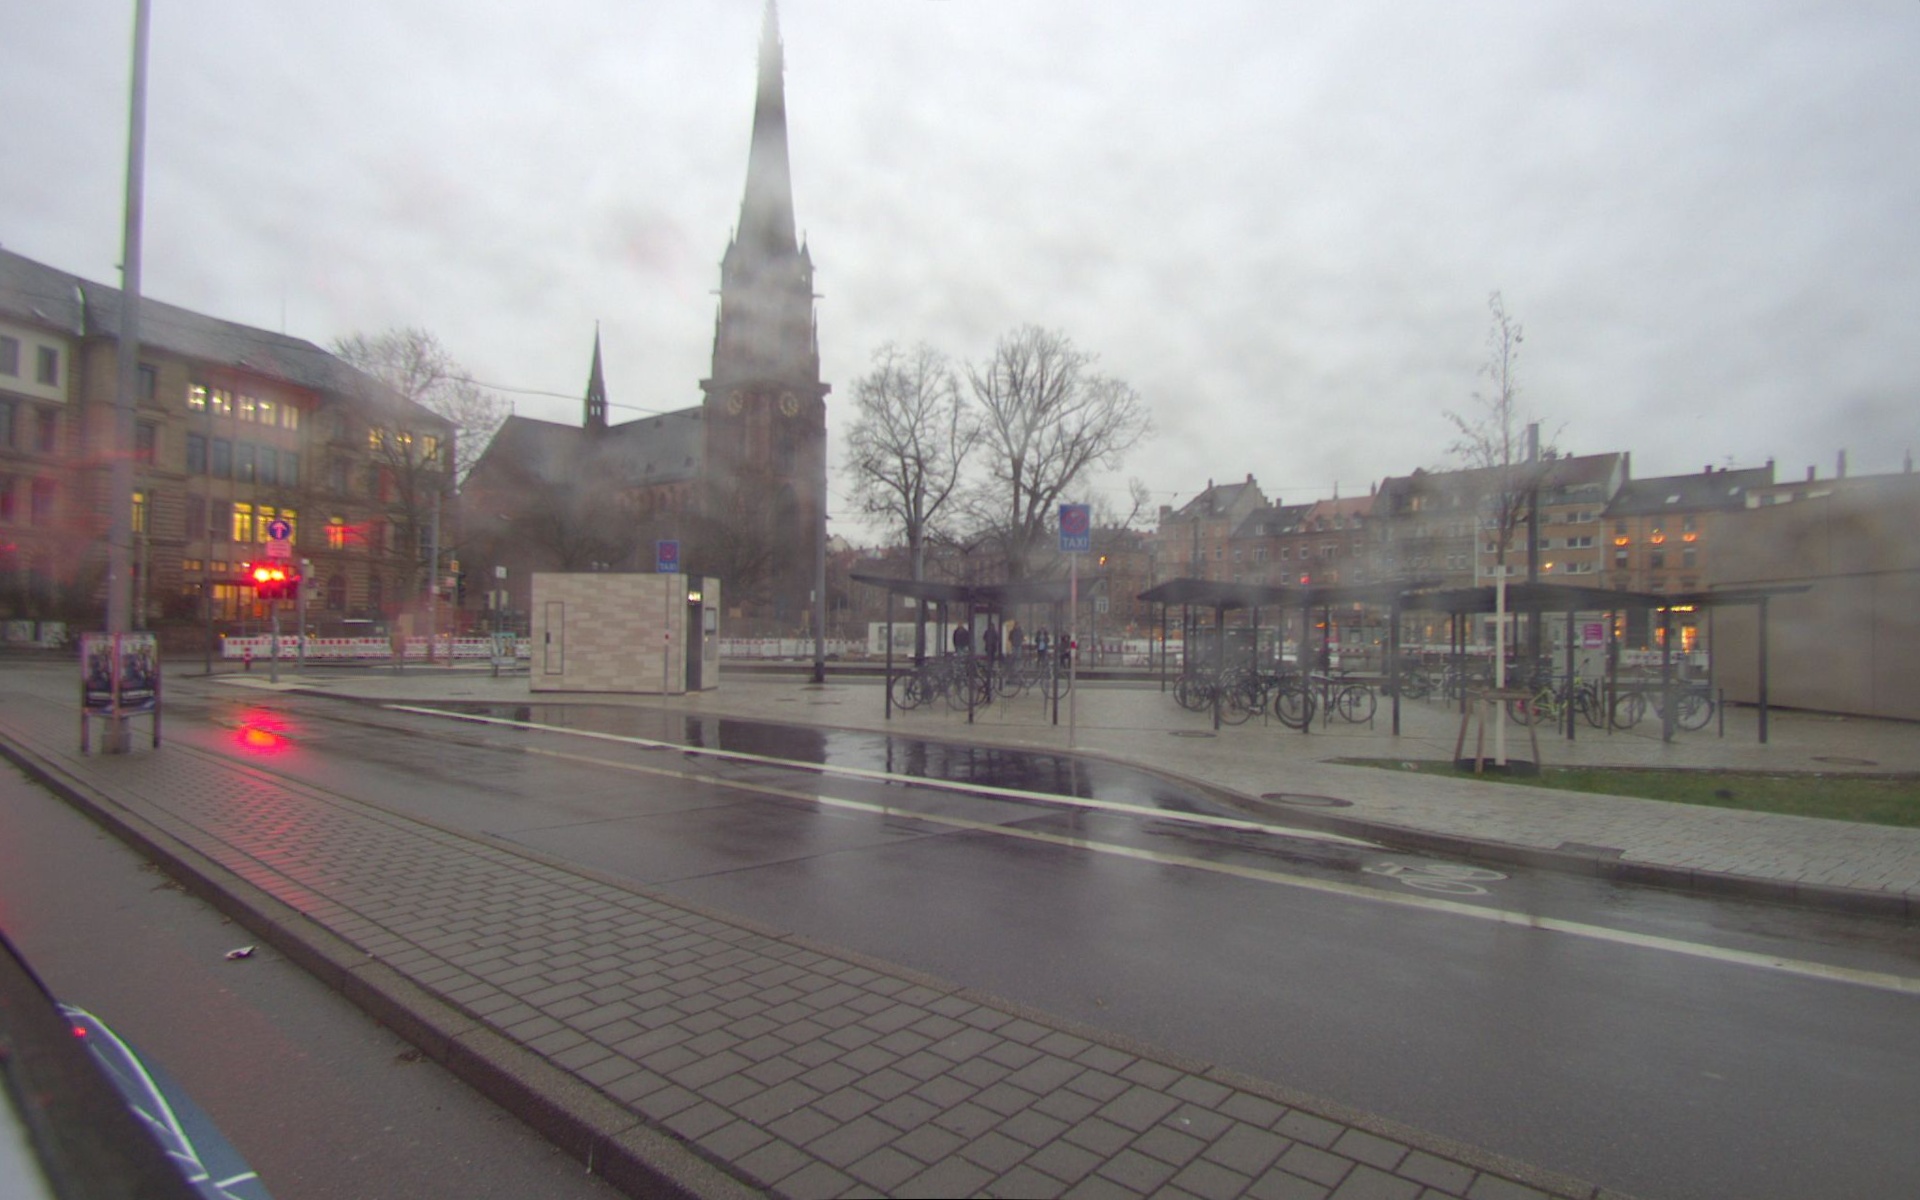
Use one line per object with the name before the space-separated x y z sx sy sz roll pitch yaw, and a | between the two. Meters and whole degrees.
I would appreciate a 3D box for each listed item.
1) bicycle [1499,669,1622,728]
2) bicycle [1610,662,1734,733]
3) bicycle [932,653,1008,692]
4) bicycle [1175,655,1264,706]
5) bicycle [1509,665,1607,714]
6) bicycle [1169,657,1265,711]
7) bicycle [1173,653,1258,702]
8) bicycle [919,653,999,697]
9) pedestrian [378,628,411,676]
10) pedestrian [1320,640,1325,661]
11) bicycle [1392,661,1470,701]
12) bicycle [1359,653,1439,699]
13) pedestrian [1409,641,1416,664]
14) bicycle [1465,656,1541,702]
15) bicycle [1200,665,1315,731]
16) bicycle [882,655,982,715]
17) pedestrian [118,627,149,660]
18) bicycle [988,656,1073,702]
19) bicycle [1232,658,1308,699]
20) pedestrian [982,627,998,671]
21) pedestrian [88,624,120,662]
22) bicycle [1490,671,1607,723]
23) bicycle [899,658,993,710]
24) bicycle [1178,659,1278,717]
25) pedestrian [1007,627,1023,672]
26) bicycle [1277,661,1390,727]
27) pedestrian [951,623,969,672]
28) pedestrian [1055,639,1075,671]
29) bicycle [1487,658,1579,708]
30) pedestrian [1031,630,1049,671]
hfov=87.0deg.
bicycle | 11.123 1.817 18.797 1.905 0.983 0.473 1 -1 11
bicycle | 12.687 1.728 18.058 1.731 1.165 0.617 1 -1 1
bicycle | 0.268 1.870 26.138 1.905 0.917 0.473 1 -1 11
bicycle | 5.846 1.811 22.862 1.905 1.078 0.473 1 -1 11
bicycle | 12.897 1.923 21.843 1.751 0.963 0.473 1 -1 11
bicycle | 5.428 1.775 21.413 1.899 1.078 0.474 1 -1 2
bicycle | 6.061 1.831 24.052 1.905 1.078 0.473 1 -1 11
bicycle | -0.018 1.830 24.881 1.905 0.993 0.473 1 -1 11
pedestrian | -20.815 1.892 37.281 0.760 1.673 1.211 -1 0 -14
pedestrian | 34.243 4.784 95.572 0.386 2.029 0.370 -2 -4 41
bicycle | 11.618 1.994 25.004 1.672 0.898 0.474 1 -1 5
bicycle | 11.181 1.927 25.815 1.780 1.116 0.473 1 -1 11
pedestrian | 39.901 4.629 89.180 0.436 2.029 0.414 3 -4 -41
bicycle | 13.230 1.919 24.677 1.551 1.044 0.521 1 -1 1
bicycle | 5.253 1.723 17.969 1.905 1.078 0.473 1 -1 11
bicycle | -0.541 1.655 19.879 1.905 1.078 0.473 1 -1 11
pedestrian | -43.232 2.276 52.941 0.918 1.737 0.824 0 -3 11
bicycle | 1.636 1.823 23.435 1.905 0.993 0.473 1 -1 11
bicycle | 7.659 1.944 25.083 1.729 0.946 0.474 1 -1 7
pedestrian | 1.145 1.861 38.664 0.556 1.664 0.540 -1 0 -1
pedestrian | -43.453 2.172 51.371 0.962 1.915 0.672 1 -2 8
bicycle | 11.364 1.865 19.584 1.905 0.898 0.473 1 -1 11
bicycle | -0.290 1.736 21.116 1.905 0.993 0.473 1 -1 11
bicycle | 5.429 1.776 20.559 1.905 1.078 0.473 1 -1 11
pedestrian | 2.064 1.857 38.126 0.543 1.648 0.571 -1 0 -1
bicycle | 6.942 1.738 18.879 1.905 1.129 0.473 1 -1 11
pedestrian | 0.001 1.803 38.590 0.619 1.808 0.672 -1 0 -1
pedestrian | 3.977 2.074 38.336 0.610 1.165 0.806 -1 0 -1
bicycle | 13.250 1.912 23.430 1.810 1.081 0.474 1 -1 8
pedestrian | 3.030 1.912 38.344 0.580 1.513 0.675 -1 0 -1
